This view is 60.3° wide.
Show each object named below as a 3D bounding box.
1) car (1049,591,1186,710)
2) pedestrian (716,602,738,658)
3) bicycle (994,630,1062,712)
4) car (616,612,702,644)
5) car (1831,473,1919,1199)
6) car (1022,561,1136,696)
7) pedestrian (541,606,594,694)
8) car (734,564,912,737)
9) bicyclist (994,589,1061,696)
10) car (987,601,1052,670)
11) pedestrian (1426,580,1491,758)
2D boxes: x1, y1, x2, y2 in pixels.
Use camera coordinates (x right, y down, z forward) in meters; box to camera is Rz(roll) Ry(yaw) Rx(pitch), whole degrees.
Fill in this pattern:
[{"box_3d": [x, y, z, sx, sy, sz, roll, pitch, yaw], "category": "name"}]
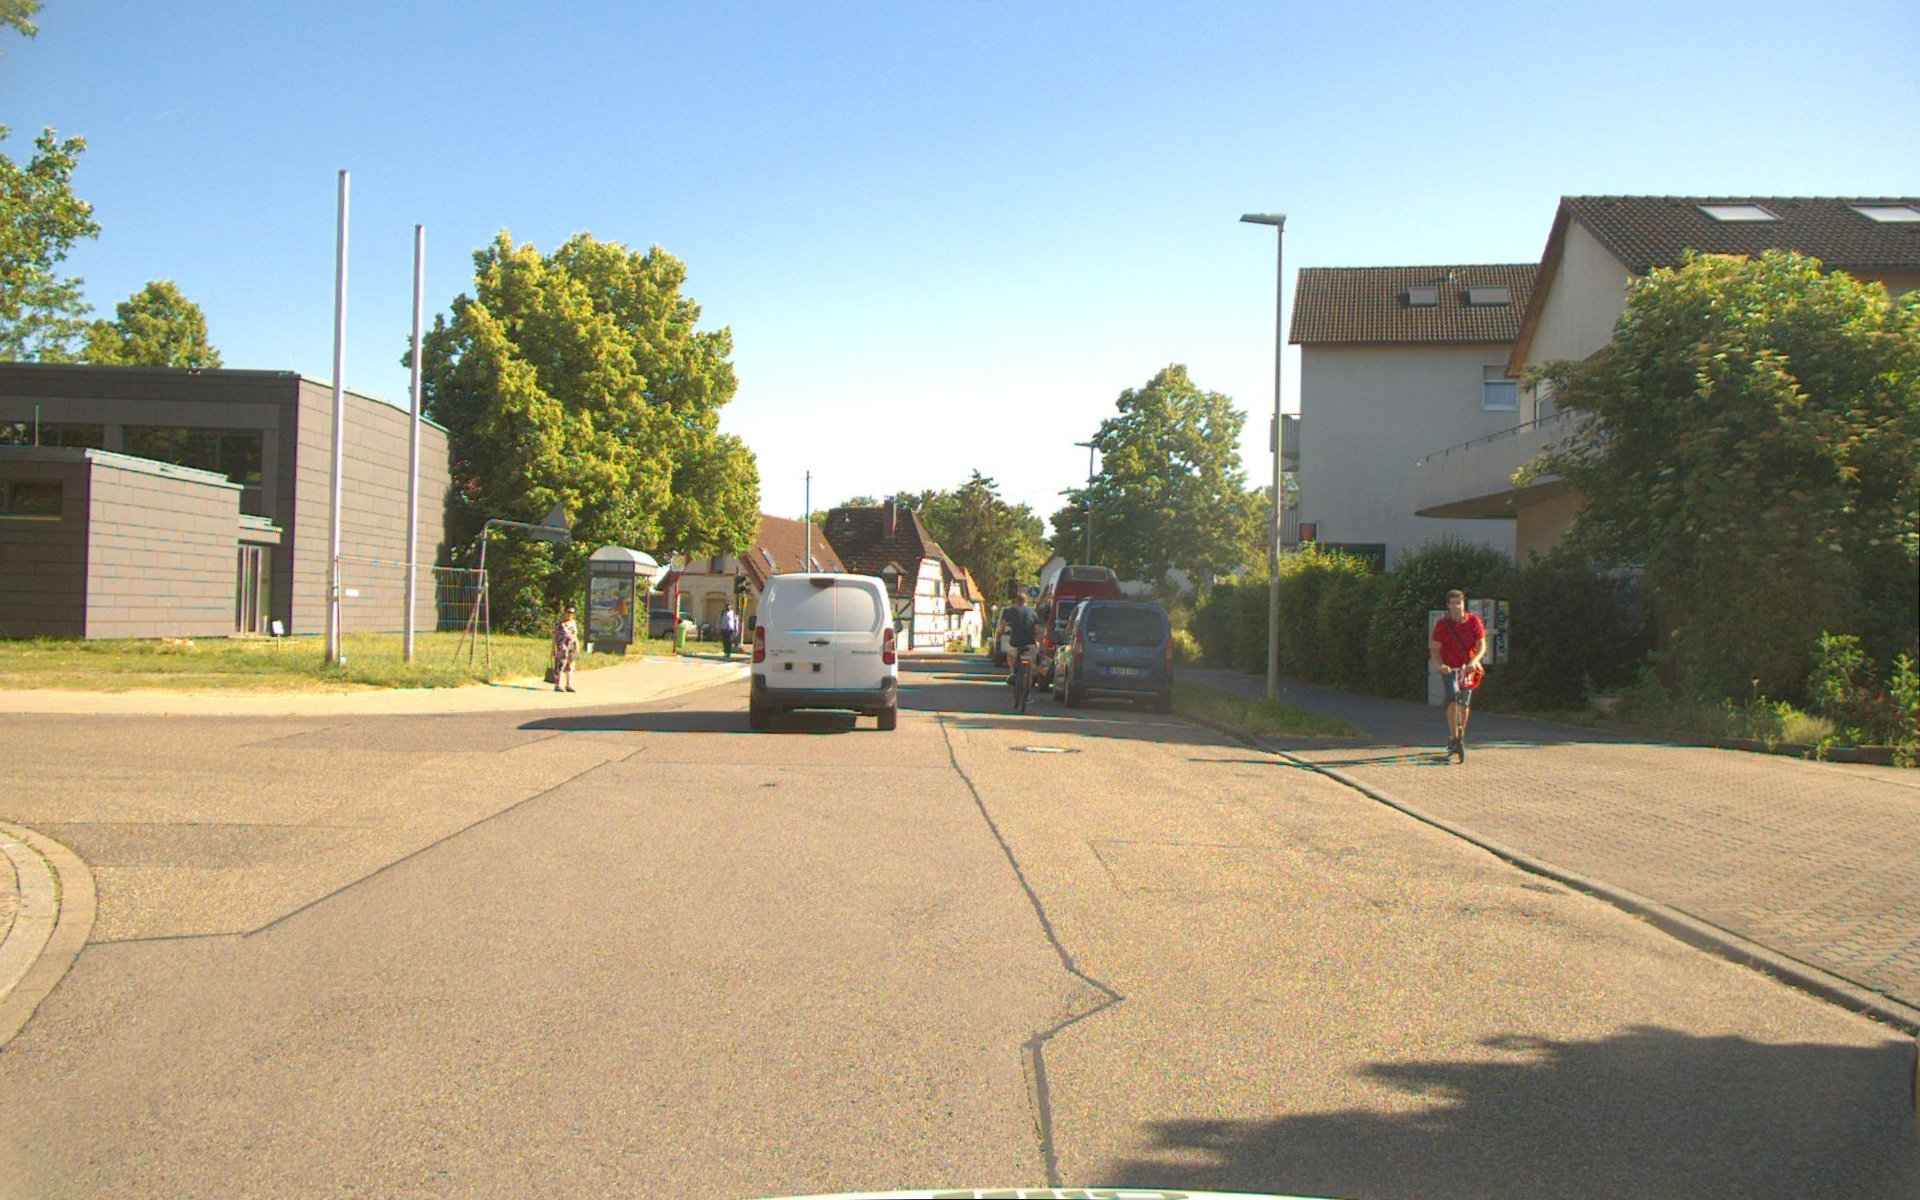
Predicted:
[{"box_3d": [2.658, 0.847, 28.722, 1.768, 1.816, 3.998, 3, -1, -2], "category": "car"}, {"box_3d": [-7.642, 0.984, 54.342, 0.608, 1.836, 0.640, 1, -2, -2], "category": "pedestrian"}, {"box_3d": [1.034, 1.076, 25.631, 0.771, 1.158, 2.278, 2, 0, -4], "category": "bicycle"}, {"box_3d": [-15.312, 1.422, 84.139, 3.893, 1.454, 1.716, 2, -1, 17], "category": "car"}, {"box_3d": [3.083, 0.649, 2.229, 1.689, 1.869, 4.000, 2, 0, 0], "category": "car"}, {"box_3d": [2.498, 0.617, 35.774, 1.829, 2.607, 4.765, 3, -1, -2], "category": "car"}, {"box_3d": [-6.784, 0.875, 28.601, 0.500, 1.471, 0.637, 4, -1, 32], "category": "pedestrian"}, {"box_3d": [-1.723, 0.583, 20.947, 1.954, 1.915, 4.284, 2, 0, -5], "category": "car"}, {"box_3d": [1.045, 0.653, 25.665, 0.888, 1.612, 0.965, 2, -1, -5], "category": "bicyclist"}, {"box_3d": [1.937, 1.181, 55.014, 1.768, 2.105, 3.998, 3, -1, -2], "category": "car"}, {"box_3d": [5.333, 0.731, 17.697, 0.474, 1.863, 0.486, -2, 0, -3], "category": "pedestrian"}]
